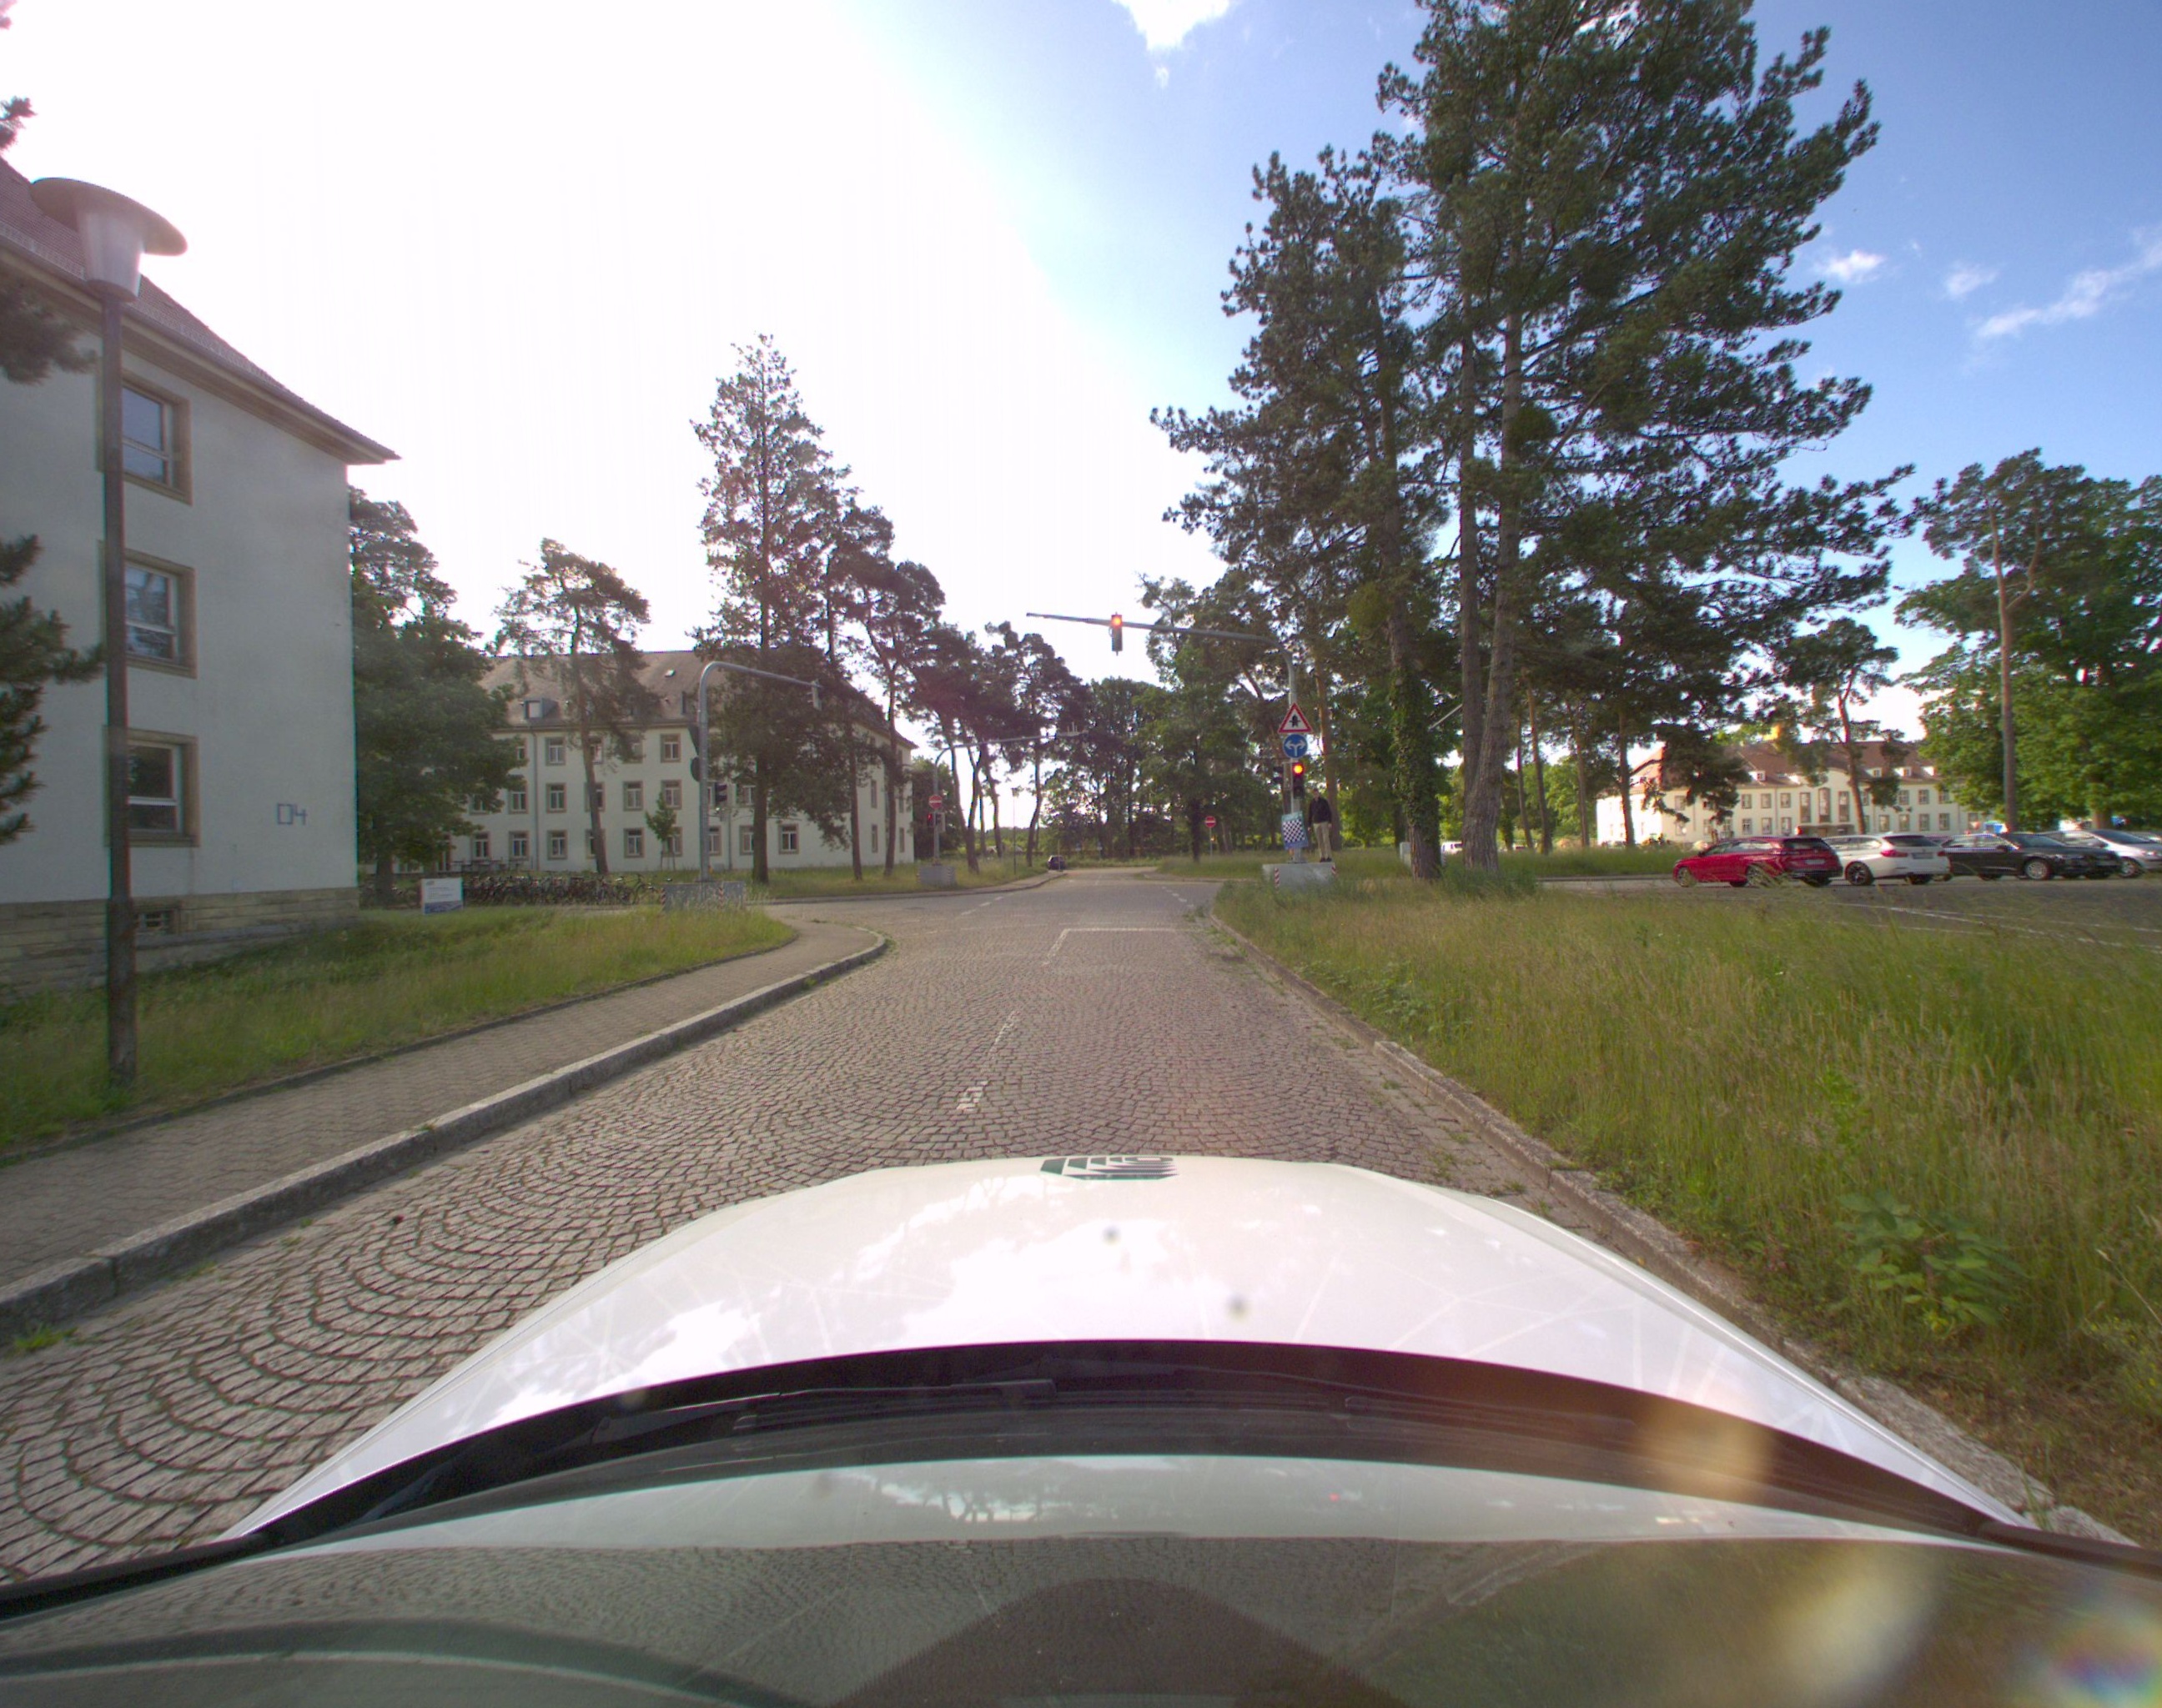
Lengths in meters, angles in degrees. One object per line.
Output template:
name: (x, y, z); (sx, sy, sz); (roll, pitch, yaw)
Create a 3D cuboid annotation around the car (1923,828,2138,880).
car: (27.292, -0.013, 23.640); (1.610, 1.315, 4.048); (-3, 0, 3)

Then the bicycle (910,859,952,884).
bicycle: (-7.054, 0.816, 38.355); (0.627, 1.066, 1.963); (-2, 0, 40)

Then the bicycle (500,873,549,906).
bicycle: (-21.886, 1.378, 32.077); (0.512, 1.220, 1.978); (-2, 0, 2)

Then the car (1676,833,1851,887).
car: (19.295, 0.190, 23.295); (1.649, 1.399, 4.131); (0, -1, 2)

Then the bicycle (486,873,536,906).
bicycle: (-22.413, 1.378, 32.054); (0.512, 1.220, 1.955); (-2, 0, 2)

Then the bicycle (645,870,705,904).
bicycle: (-15.607, 1.274, 31.316); (1.937, 1.220, 0.635); (-2, 0, 1)

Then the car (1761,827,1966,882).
car: (22.135, 0.087, 23.325); (1.773, 1.379, 4.240); (-2, -2, 0)

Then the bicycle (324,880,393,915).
bicycle: (-27.046, 1.619, 30.520); (1.836, 1.220, 0.510); (-2, 0, -34)

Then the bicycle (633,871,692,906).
bicycle: (-15.733, 1.297, 30.604); (1.855, 1.220, 0.635); (-2, 0, 1)

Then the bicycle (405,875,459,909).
bicycle: (-25.605, 1.491, 32.151); (0.512, 1.220, 1.938); (-2, 0, 2)

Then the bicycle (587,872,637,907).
bicycle: (-18.053, 1.357, 31.402); (0.630, 1.220, 2.105); (-2, 0, 2)

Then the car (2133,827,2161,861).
car: (47.932, -0.445, 34.358); (1.717, 1.468, 4.243); (0, 0, 2)

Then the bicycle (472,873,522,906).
bicycle: (-22.967, 1.382, 32.074); (0.512, 1.220, 1.938); (-2, 0, 2)

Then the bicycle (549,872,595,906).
bicycle: (-20.198, 1.369, 32.377); (0.546, 1.220, 1.900); (-2, 0, 2)

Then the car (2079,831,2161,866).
car: (44.913, -0.233, 33.870); (1.717, 1.425, 4.243); (0, 0, 2)

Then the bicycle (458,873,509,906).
bicycle: (-23.512, 1.386, 32.105); (0.512, 1.220, 1.938); (-2, 0, 2)

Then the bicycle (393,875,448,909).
bicycle: (-26.053, 1.494, 32.165); (0.512, 1.220, 1.938); (-2, 0, 2)

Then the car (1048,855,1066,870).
car: (-2.560, 0.913, 87.672); (1.704, 1.496, 3.918); (-2, 0, 0)

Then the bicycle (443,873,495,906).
bicycle: (-24.104, 1.390, 32.134); (0.512, 1.220, 1.938); (-2, 0, 2)

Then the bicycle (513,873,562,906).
bicycle: (-21.368, 1.378, 32.075); (0.512, 1.220, 1.978); (-2, 0, 2)

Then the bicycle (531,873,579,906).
bicycle: (-20.719, 1.374, 32.110); (0.512, 1.220, 2.016); (-2, 0, 2)

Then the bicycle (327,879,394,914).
bicycle: (-27.429, 1.614, 31.035); (1.836, 1.220, 0.510); (-2, 0, -34)

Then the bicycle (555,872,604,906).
bicycle: (-19.639, 1.368, 31.945); (0.576, 1.220, 2.030); (-2, 0, 2)

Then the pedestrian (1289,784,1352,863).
pedestrian: (5.802, -0.722, 19.711); (1.157, 1.796, 1.069); (-2, 0, 31)

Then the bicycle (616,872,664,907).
bicycle: (-16.966, 1.348, 31.385); (0.630, 1.220, 2.115); (-2, 0, 2)

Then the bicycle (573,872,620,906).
bicycle: (-18.896, 1.362, 31.802); (0.570, 1.220, 1.990); (-2, 0, 2)

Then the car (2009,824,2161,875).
car: (30.163, -0.137, 23.878); (1.716, 1.372, 3.796); (0, 0, 4)

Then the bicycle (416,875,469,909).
bicycle: (-25.176, 1.488, 32.144); (0.512, 1.220, 1.938); (-2, 0, 2)

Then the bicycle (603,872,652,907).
bicycle: (-17.449, 1.353, 31.384); (0.630, 1.220, 2.125); (-2, 0, 2)
